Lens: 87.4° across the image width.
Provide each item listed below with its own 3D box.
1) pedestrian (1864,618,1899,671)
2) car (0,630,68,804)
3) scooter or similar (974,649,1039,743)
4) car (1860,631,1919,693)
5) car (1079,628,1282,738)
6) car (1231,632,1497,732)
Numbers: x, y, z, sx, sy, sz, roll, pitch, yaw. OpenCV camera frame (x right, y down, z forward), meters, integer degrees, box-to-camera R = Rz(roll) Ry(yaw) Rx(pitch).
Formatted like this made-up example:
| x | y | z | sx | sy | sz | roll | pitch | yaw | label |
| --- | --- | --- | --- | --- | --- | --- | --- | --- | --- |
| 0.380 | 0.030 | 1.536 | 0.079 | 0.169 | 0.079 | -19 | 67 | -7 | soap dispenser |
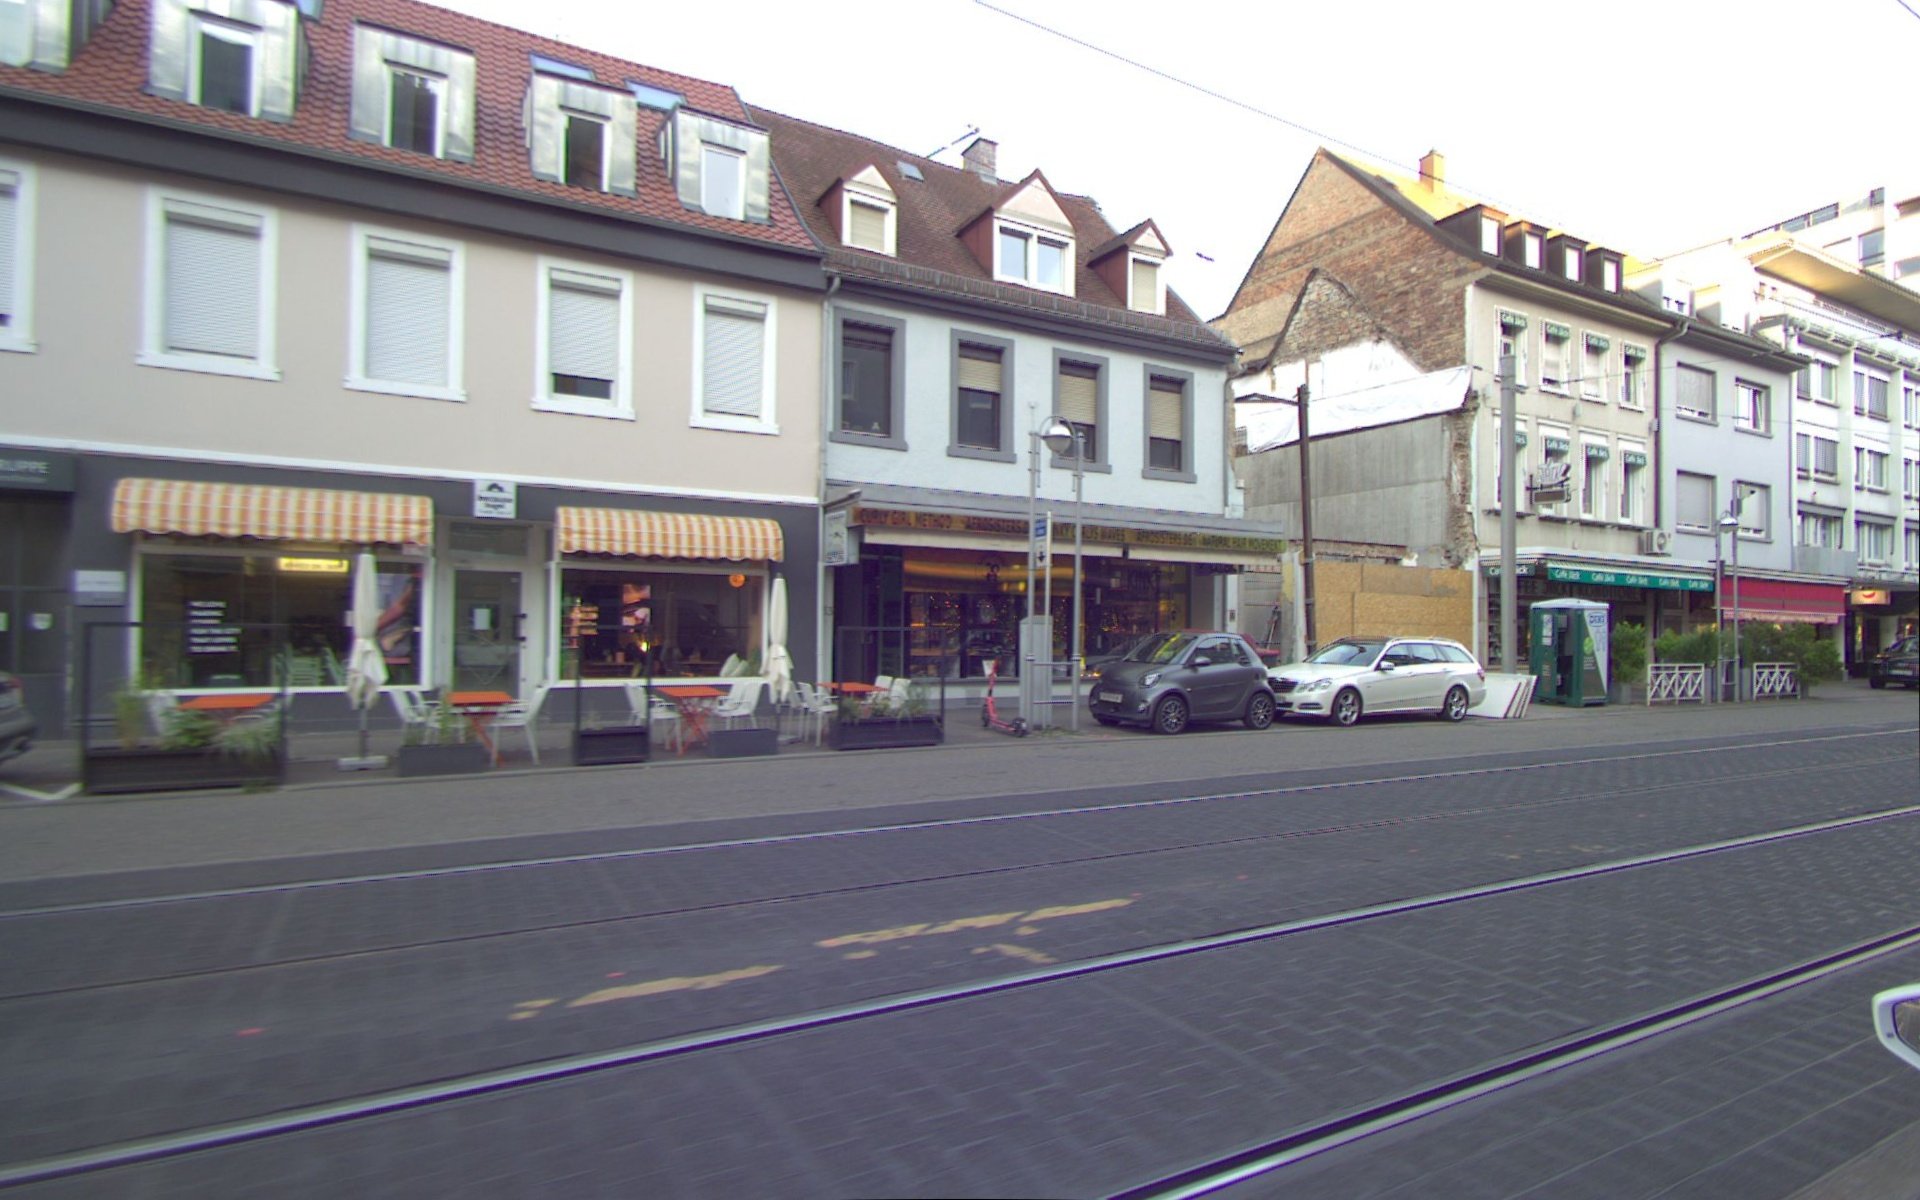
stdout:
| x | y | z | sx | sy | sz | roll | pitch | yaw | label |
| --- | --- | --- | --- | --- | --- | --- | --- | --- | --- |
| 32.787 | 1.564 | 35.737 | 0.827 | 1.844 | 0.645 | 1 | 1 | -29 | pedestrian |
| -10.247 | 0.976 | 8.412 | 3.817 | 1.408 | 1.727 | 2 | 0 | -29 | car |
| 0.644 | 1.345 | 14.375 | 0.290 | 1.221 | 1.309 | 1 | 0 | -27 | scooter or similar |
| 30.353 | 1.919 | 31.421 | 4.376 | 1.786 | 1.909 | 2 | 1 | -29 | car |
| 3.499 | 1.250 | 15.937 | 2.779 | 1.524 | 1.584 | 1 | 1 | -30 | car |
| 7.357 | 1.406 | 18.174 | 4.782 | 1.524 | 1.841 | 2 | 0 | -29 | car |
